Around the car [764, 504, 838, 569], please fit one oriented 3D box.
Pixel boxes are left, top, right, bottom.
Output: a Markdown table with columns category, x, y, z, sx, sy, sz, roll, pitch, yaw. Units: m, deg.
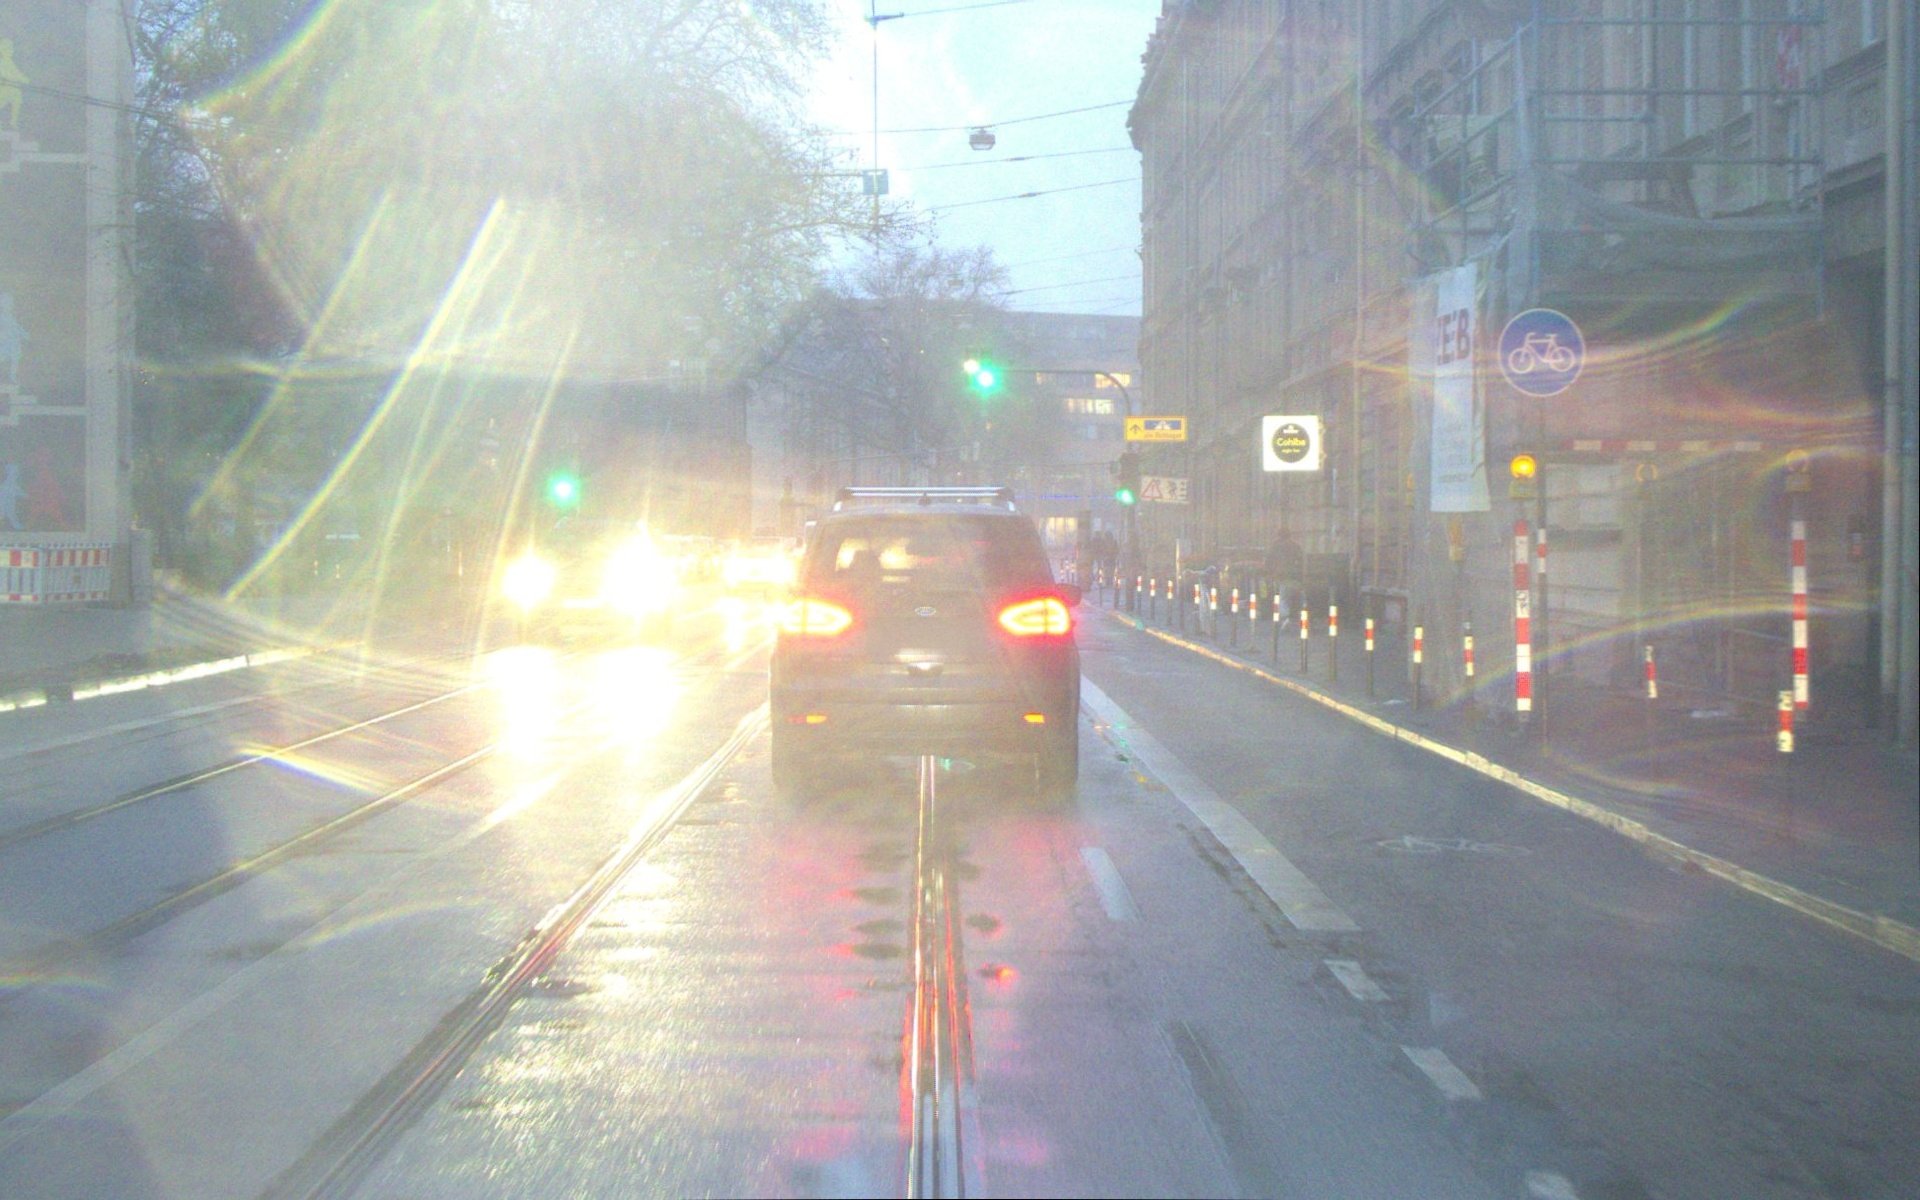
| category | x | y | z | sx | sy | sz | roll | pitch | yaw |
| --- | --- | --- | --- | --- | --- | --- | --- | --- | --- |
| car | -5.831 | -2.324 | 126.546 | 2.446 | 2.339 | 5.845 | 0 | 1 | 0 |

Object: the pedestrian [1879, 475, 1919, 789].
| category | x | y | z | sx | sy | sz | roll | pitch | yaw |
| --- | --- | --- | --- | --- | --- | --- | --- | --- | --- |
| pedestrian | 5.831 | 0.188 | 19.874 | 0.598 | 1.812 | 0.776 | 1 | 0 | -28 |

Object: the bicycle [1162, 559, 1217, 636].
| category | x | y | z | sx | sy | sz | roll | pitch | yaw |
| --- | --- | --- | --- | --- | --- | --- | --- | --- | --- |
| bicycle | 3.549 | -0.051 | 53.257 | 0.684 | 1.152 | 2.188 | 1 | 1 | 0 |

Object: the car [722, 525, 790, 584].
| category | x | y | z | sx | sy | sz | roll | pitch | yaw |
| --- | --- | --- | --- | --- | --- | --- | --- | --- | --- |
| car | -5.204 | -1.171 | 87.967 | 1.530 | 1.476 | 3.561 | 0 | 1 | 0 |

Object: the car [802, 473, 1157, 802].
| category | x | y | z | sx | sy | sz | roll | pitch | yaw |
| --- | --- | --- | --- | --- | --- | --- | --- | --- | --- |
| car | 0.190 | 0.180 | 21.480 | 1.994 | 1.835 | 4.000 | 1 | 1 | 2 |

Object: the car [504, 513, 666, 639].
| category | x | y | z | sx | sy | sz | roll | pitch | yaw |
| --- | --- | --- | --- | --- | --- | --- | --- | --- | --- |
| car | -5.291 | -0.375 | 49.068 | 1.875 | 1.704 | 4.761 | 0 | 1 | -1 |

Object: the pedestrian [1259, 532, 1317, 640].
| category | x | y | z | sx | sy | sz | roll | pitch | yaw |
| --- | --- | --- | --- | --- | --- | --- | --- | --- | --- |
| pedestrian | 5.234 | -0.229 | 54.832 | 0.835 | 1.695 | 0.953 | 1 | 0 | 8 |
